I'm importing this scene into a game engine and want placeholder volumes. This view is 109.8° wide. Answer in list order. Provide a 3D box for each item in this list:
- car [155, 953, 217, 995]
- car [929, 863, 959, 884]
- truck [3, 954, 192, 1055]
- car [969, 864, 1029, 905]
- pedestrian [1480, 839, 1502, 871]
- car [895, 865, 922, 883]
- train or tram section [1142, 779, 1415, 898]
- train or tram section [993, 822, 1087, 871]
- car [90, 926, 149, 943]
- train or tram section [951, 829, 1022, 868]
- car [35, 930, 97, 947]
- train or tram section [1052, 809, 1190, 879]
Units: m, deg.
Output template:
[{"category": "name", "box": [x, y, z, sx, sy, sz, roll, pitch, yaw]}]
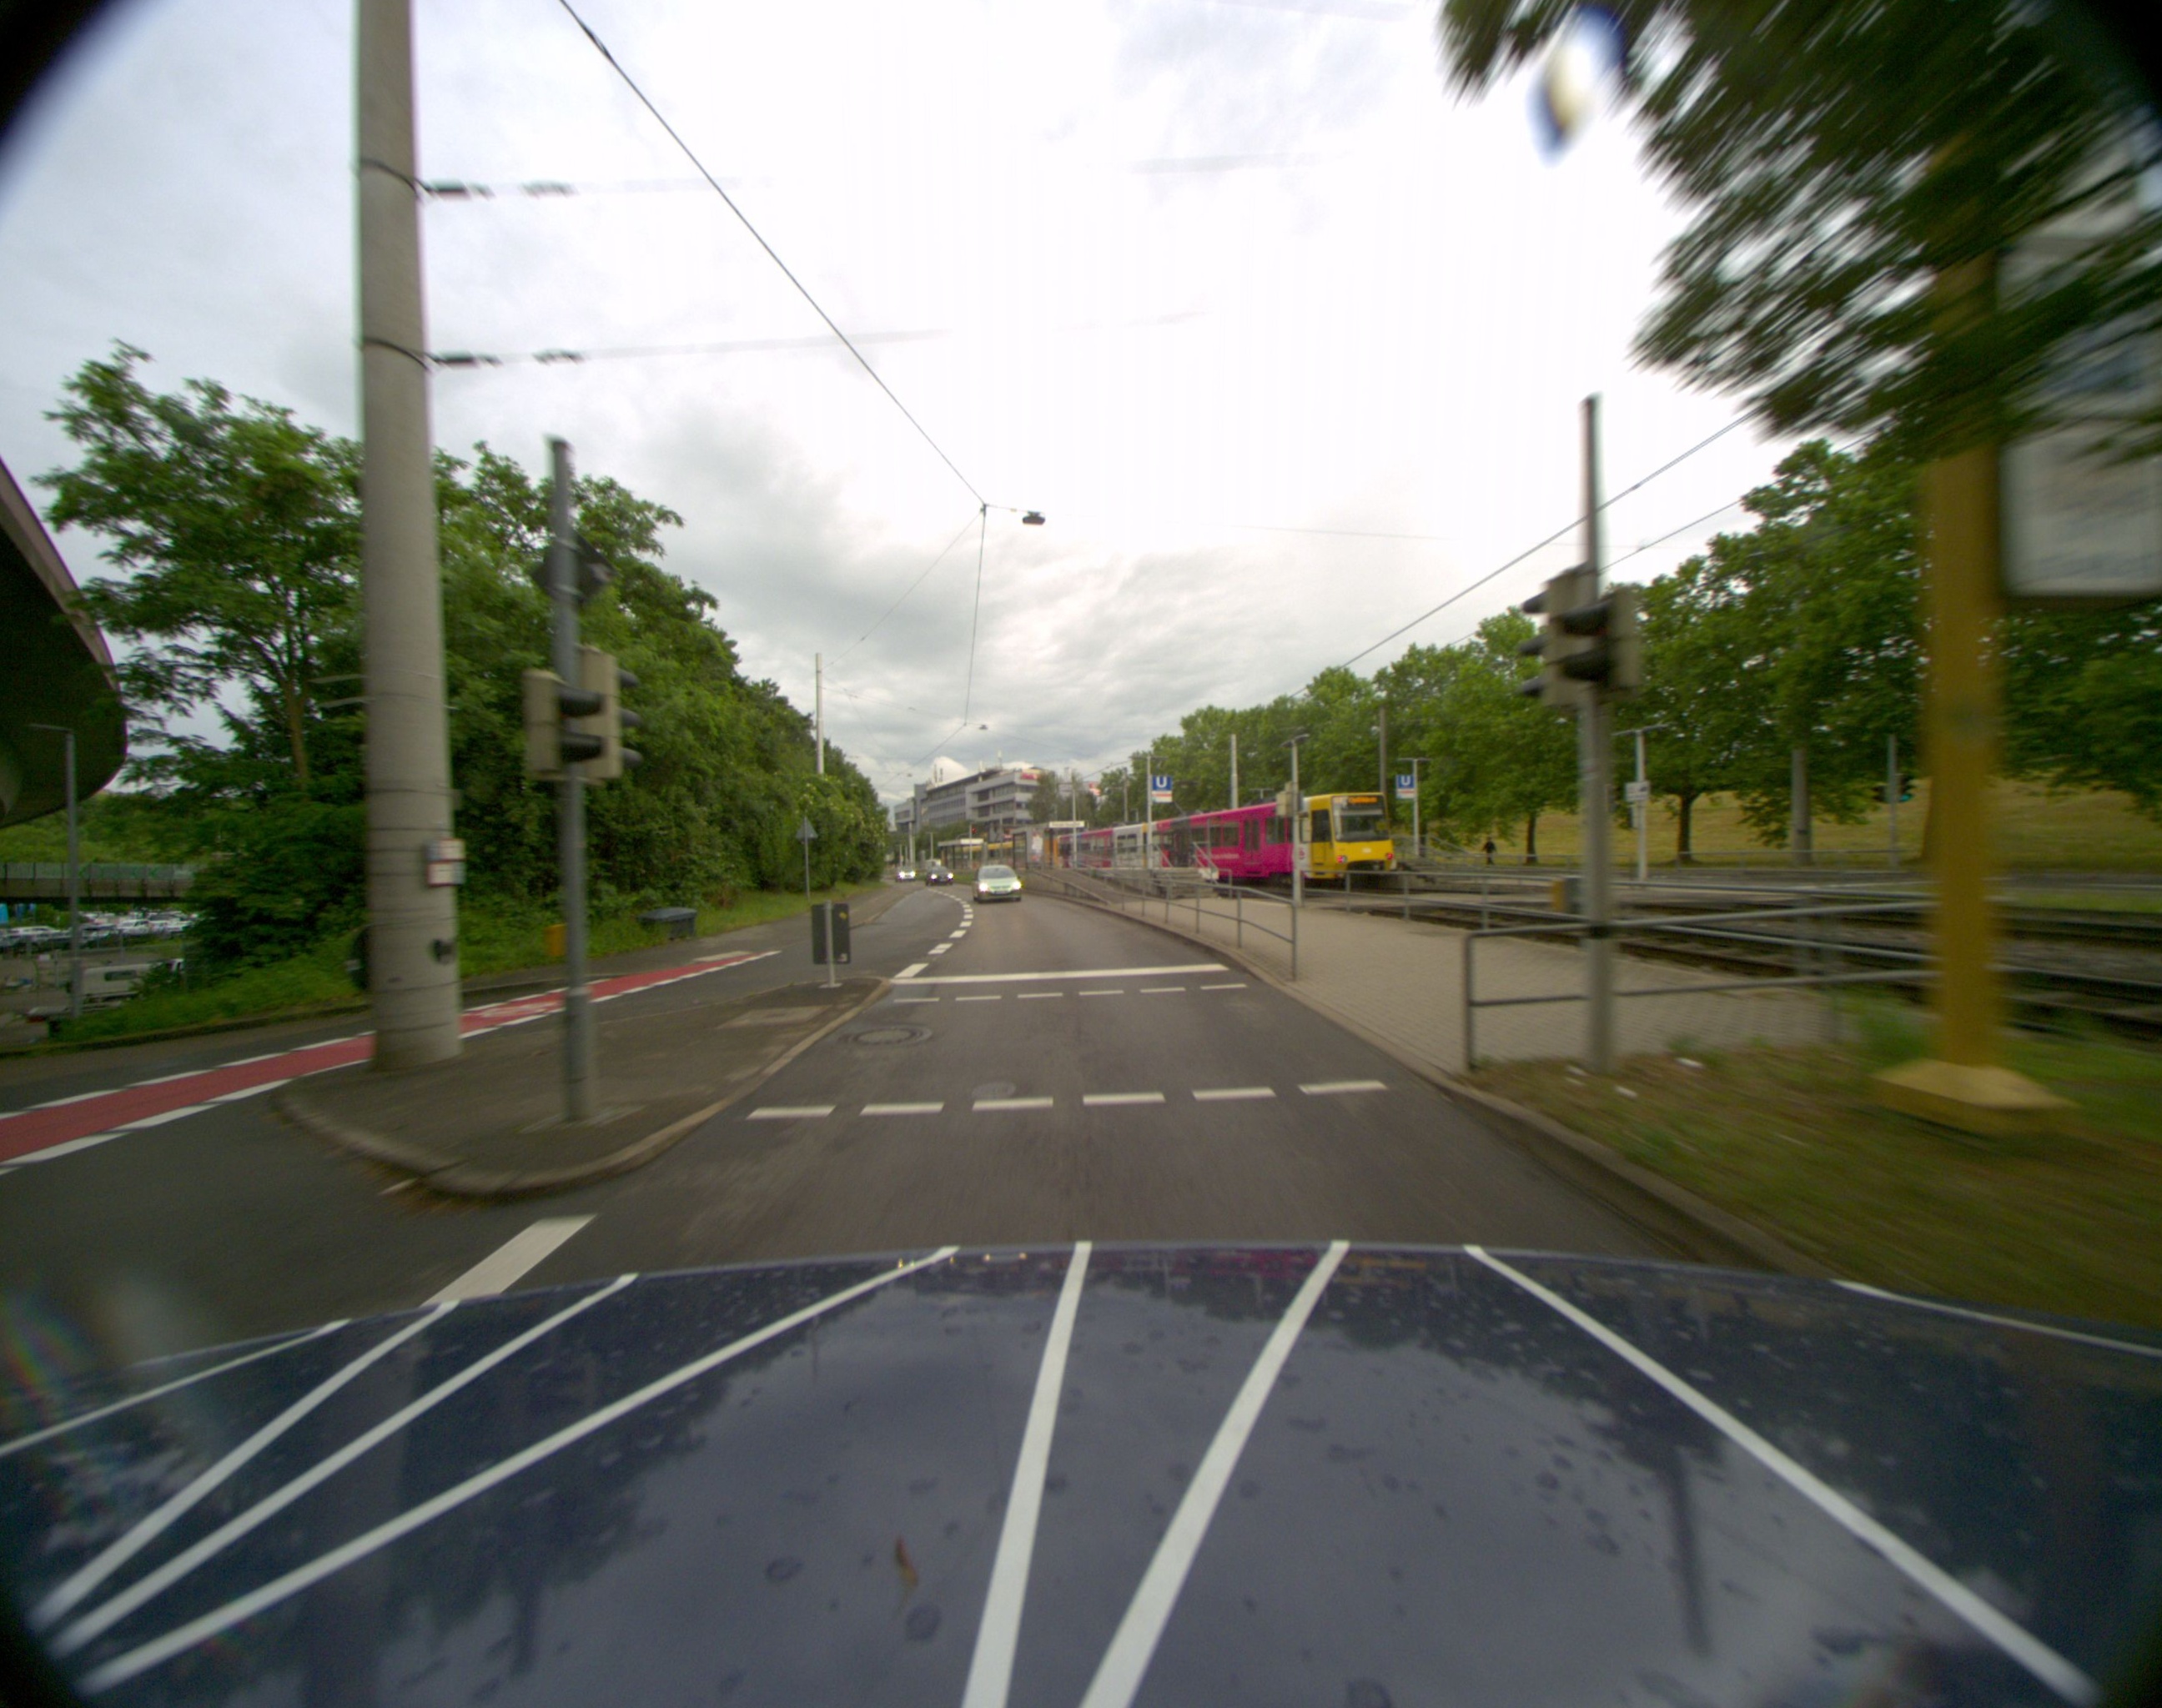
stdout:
[{"category": "car", "box": [-50.638, 6.734, 42.990, 3.881, 1.845, 1.960, -2, 1, 37]}, {"category": "car", "box": [-10.765, 1.477, 59.501, 1.783, 1.493, 3.994, -3, 0, -16]}, {"category": "truck", "box": [-29.785, 4.417, 23.290, 2.713, 2.002, 5.748, -3, 1, -45]}, {"category": "car", "box": [-3.468, 1.219, 31.507, 1.783, 1.493, 3.994, -1, 1, -16]}, {"category": "pedestrian", "box": [23.348, 0.051, 43.251, 0.731, 1.810, 0.764, -3, 1, -2]}, {"category": "car", "box": [-17.115, 1.928, 75.341, 2.002, 1.563, 3.993, -4, 1, -21]}, {"category": "train or tram section", "box": [7.651, -0.587, 35.532, 2.878, 3.938, 19.302, -4, 1, -15]}, {"category": "train or tram section", "box": [-4.402, -0.598, 72.084, 2.879, 3.932, 19.296, -4, 1, -21]}, {"category": "car", "box": [-110.892, 9.276, 87.647, 3.766, 1.485, 1.773, -3, 1, -30]}, {"category": "train or tram section", "box": [-11.521, -0.521, 89.918, 2.880, 3.950, 19.293, -5, 1, -23]}, {"category": "car", "box": [-115.236, 9.597, 86.331, 3.766, 1.485, 1.773, -3, 1, -30]}, {"category": "train or tram section", "box": [2.042, -0.627, 54.076, 2.879, 3.948, 19.299, -4, 1, -18]}]
